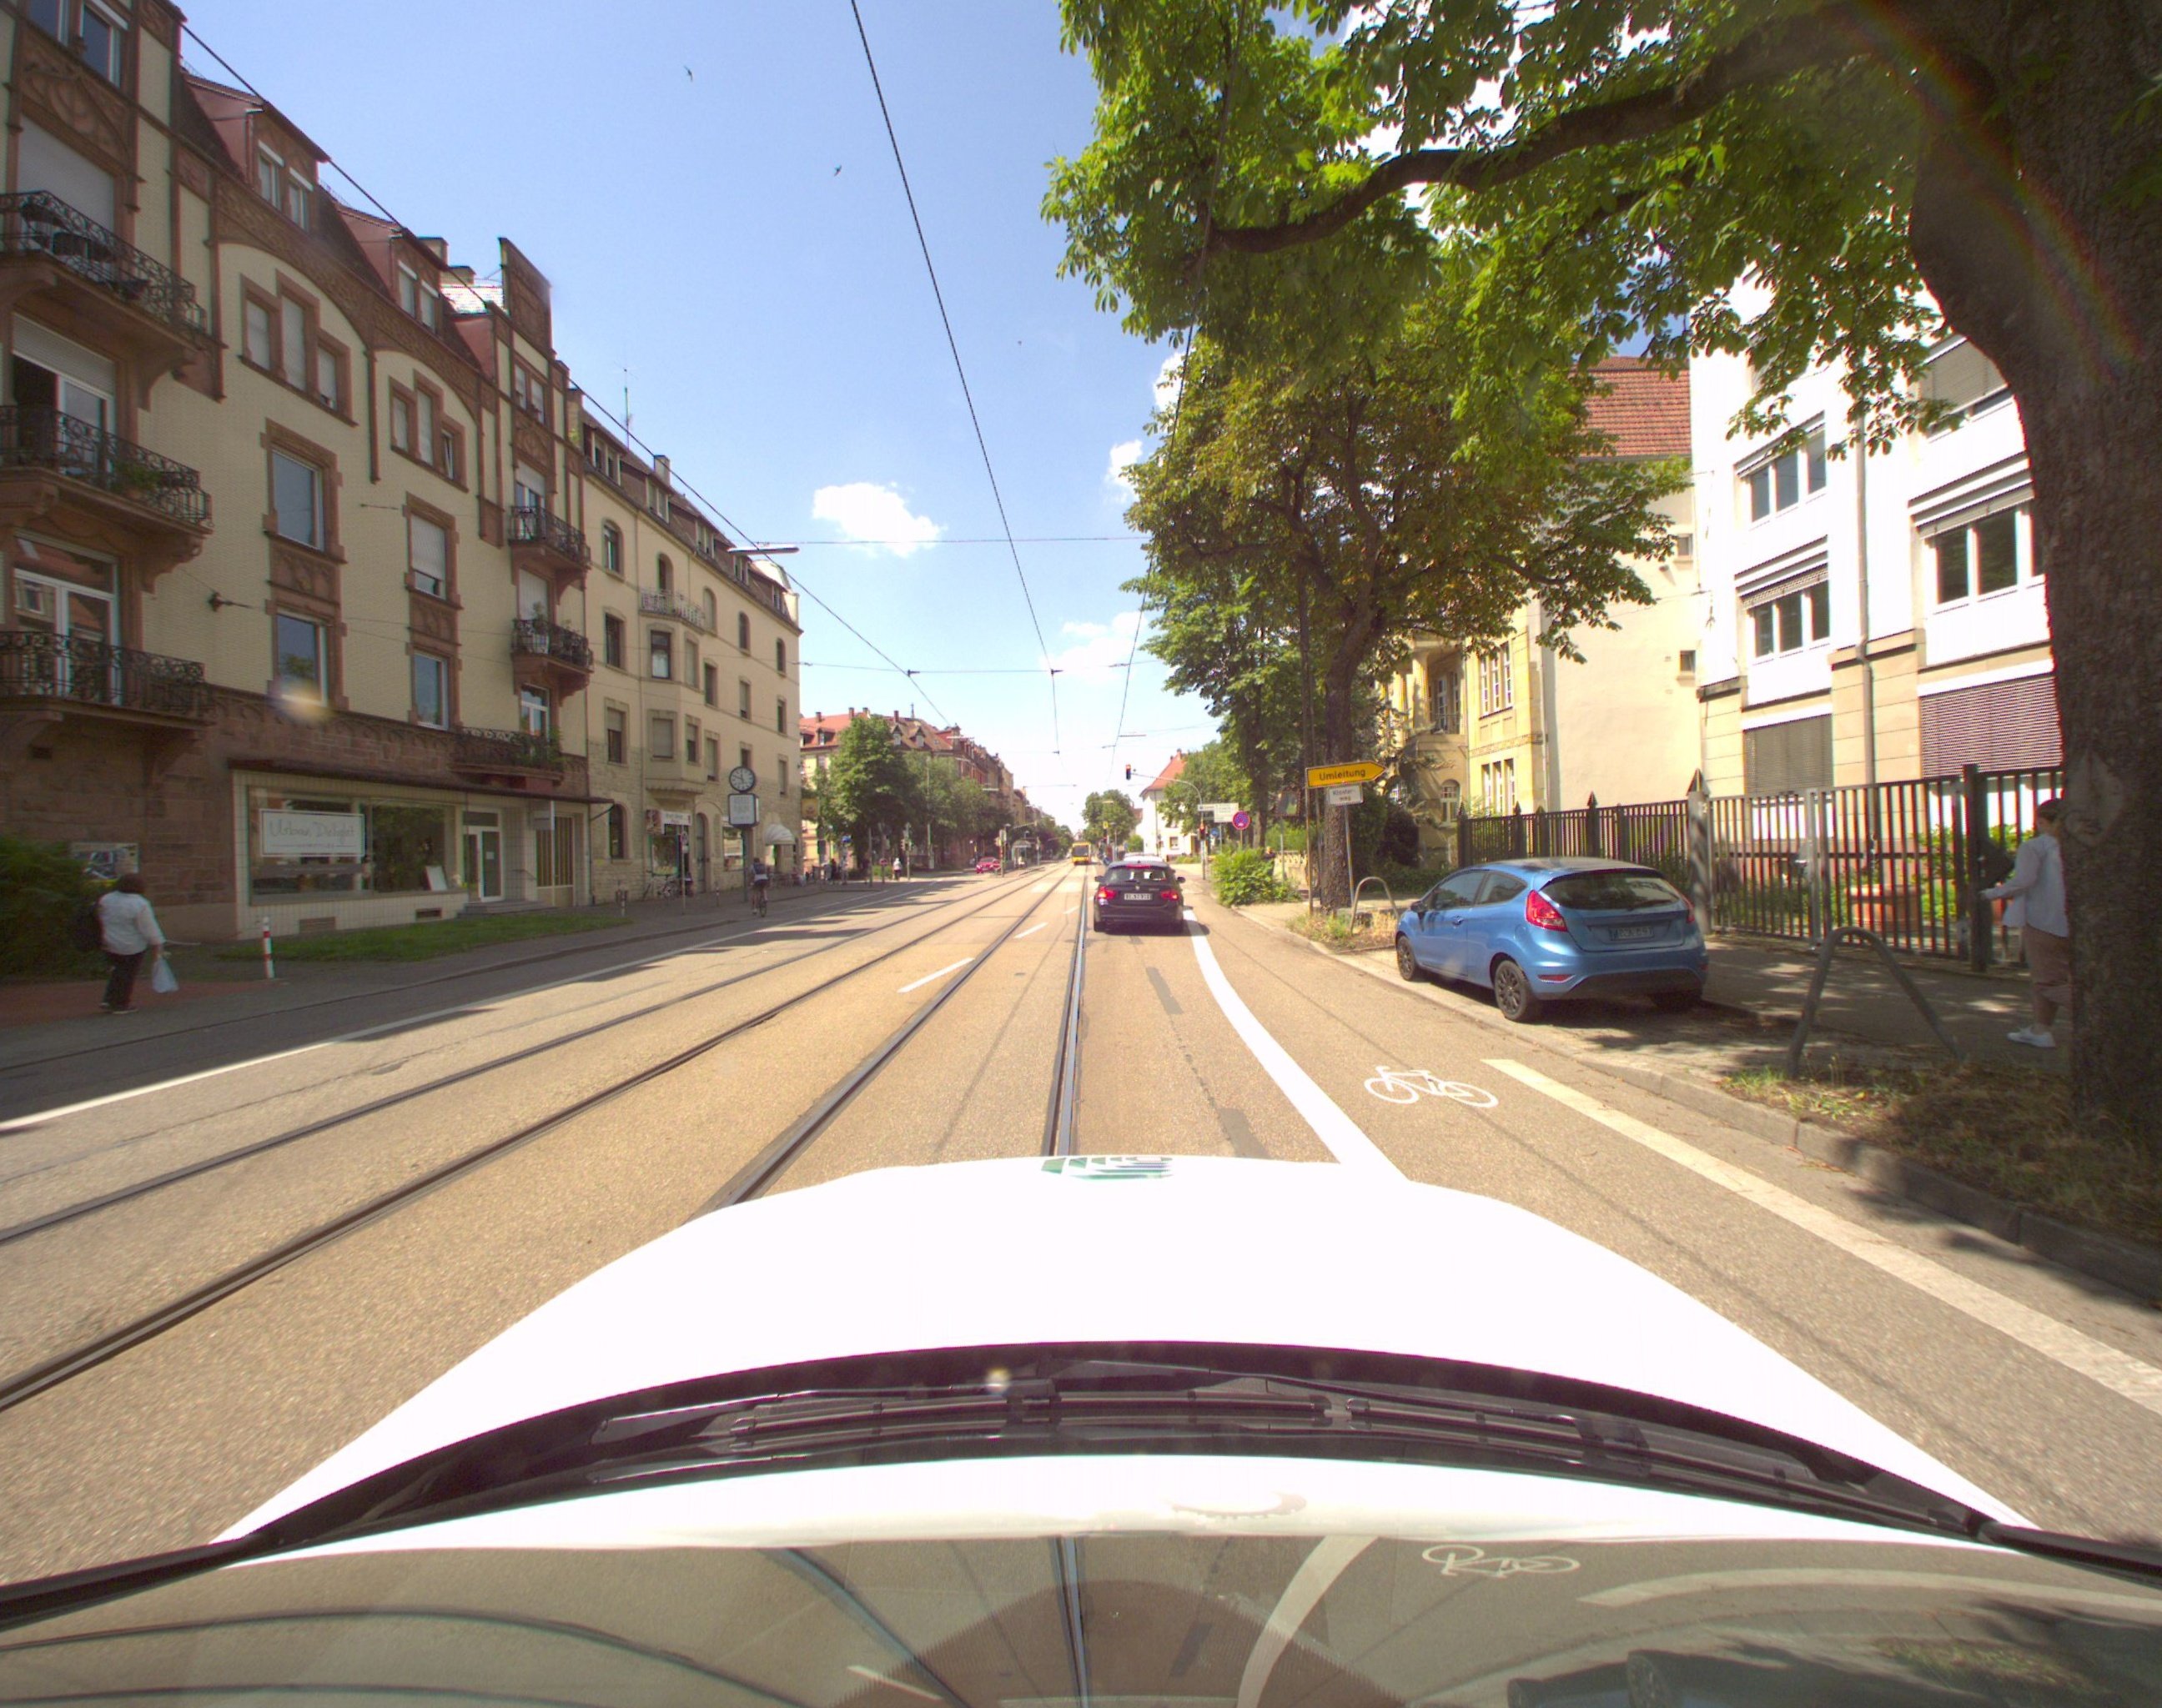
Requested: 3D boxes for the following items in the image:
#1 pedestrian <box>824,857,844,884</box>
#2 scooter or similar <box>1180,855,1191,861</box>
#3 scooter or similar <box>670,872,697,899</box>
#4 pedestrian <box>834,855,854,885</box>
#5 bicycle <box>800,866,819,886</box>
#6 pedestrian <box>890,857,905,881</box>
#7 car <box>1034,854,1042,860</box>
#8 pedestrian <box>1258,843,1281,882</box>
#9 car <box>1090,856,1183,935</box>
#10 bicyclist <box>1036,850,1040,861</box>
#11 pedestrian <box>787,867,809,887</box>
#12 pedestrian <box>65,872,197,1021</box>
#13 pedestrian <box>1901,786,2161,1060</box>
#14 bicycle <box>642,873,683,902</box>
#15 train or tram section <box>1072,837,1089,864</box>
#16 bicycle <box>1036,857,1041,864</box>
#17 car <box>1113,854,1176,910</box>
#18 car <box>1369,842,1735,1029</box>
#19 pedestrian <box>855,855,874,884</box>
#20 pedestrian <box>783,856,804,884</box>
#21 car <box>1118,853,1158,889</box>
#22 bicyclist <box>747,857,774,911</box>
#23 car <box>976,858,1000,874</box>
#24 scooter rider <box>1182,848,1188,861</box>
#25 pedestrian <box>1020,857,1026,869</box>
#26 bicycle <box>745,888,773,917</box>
[{"bbox_3d":[-15.436,1.037,50.948,0.858,1.635,1.026,-2,0,-1],"label":"pedestrian"},{"bbox_3d":[14.031,0.521,109.568,1.309,0.837,0.526,-1,0,-5],"label":"scooter or similar"},{"bbox_3d":[-16.170,1.264,33.136,0.699,1.044,1.196,0,-1,-40],"label":"scooter or similar"},{"bbox_3d":[-13.987,0.938,48.089,0.852,1.732,0.780,0,0,42],"label":"pedestrian"},{"bbox_3d":[-16.532,1.360,49.559,0.547,1.128,1.664,-1,-2,-37],"label":"bicycle"},{"bbox_3d":[-13.071,1.065,57.950,0.919,1.723,0.835,-2,0,-20],"label":"pedestrian"},{"bbox_3d":[-10.902,0.720,205.933,1.786,1.586,3.989,0,-1,-8],"label":"car"},{"bbox_3d":[8.204,0.371,35.498,0.852,1.645,0.838,-2,0,9],"label":"pedestrian"},{"bbox_3d":[1.186,0.774,17.363,1.715,1.409,4.570,1,0,4],"label":"car"},{"bbox_3d":[-7.091,0.218,134.188,0.721,1.870,0.824,-2,0,-4],"label":"bicyclist"},{"bbox_3d":[-15.975,1.288,46.021,0.912,1.077,0.883,-2,0,1],"label":"pedestrian"},{"bbox_3d":[-10.764,0.995,9.272,0.972,1.542,0.909,-2,0,43],"label":"pedestrian"},{"bbox_3d":[6.340,0.420,5.423,0.763,1.651,0.975,-2,0,5],"label":"pedestrian"},{"bbox_3d":[-15.998,1.264,31.145,0.366,1.066,1.473,-1,-1,24],"label":"bicycle"},{"bbox_3d":[-0.081,-0.484,114.135,2.183,3.482,8.844,-2,0,0],"label":"train or tram section"},{"bbox_3d":[-7.049,1.122,134.254,0.727,1.101,1.714,-1,0,-1],"label":"bicycle"},{"bbox_3d":[1.835,0.765,24.331,1.678,1.484,3.687,-2,0,3],"label":"car"},{"bbox_3d":[4.664,0.685,8.773,1.672,1.443,3.720,-5,0,0],"label":"car"},{"bbox_3d":[-14.174,0.990,53.270,0.898,1.891,1.164,-1,0,0],"label":"pedestrian"},{"bbox_3d":[-16.838,0.920,47.663,0.914,1.594,0.808,-2,0,-3],"label":"pedestrian"},{"bbox_3d":[2.529,0.719,36.096,1.684,1.514,3.825,0,0,4],"label":"car"},{"bbox_3d":[-10.152,0.940,25.786,0.758,1.663,0.825,0,-1,-20],"label":"bicyclist"},{"bbox_3d":[-8.776,1.103,77.068,1.818,1.413,4.425,-3,0,-2],"label":"car"},{"bbox_3d":[14.007,0.055,109.588,0.589,1.687,0.527,-2,0,-5],"label":"scooter rider"},{"bbox_3d":[-5.781,0.913,81.328,0.613,1.243,0.627,-1,0,-5],"label":"pedestrian"},{"bbox_3d":[-10.176,1.517,25.782,0.755,0.817,1.808,-1,0,-20],"label":"bicycle"}]
